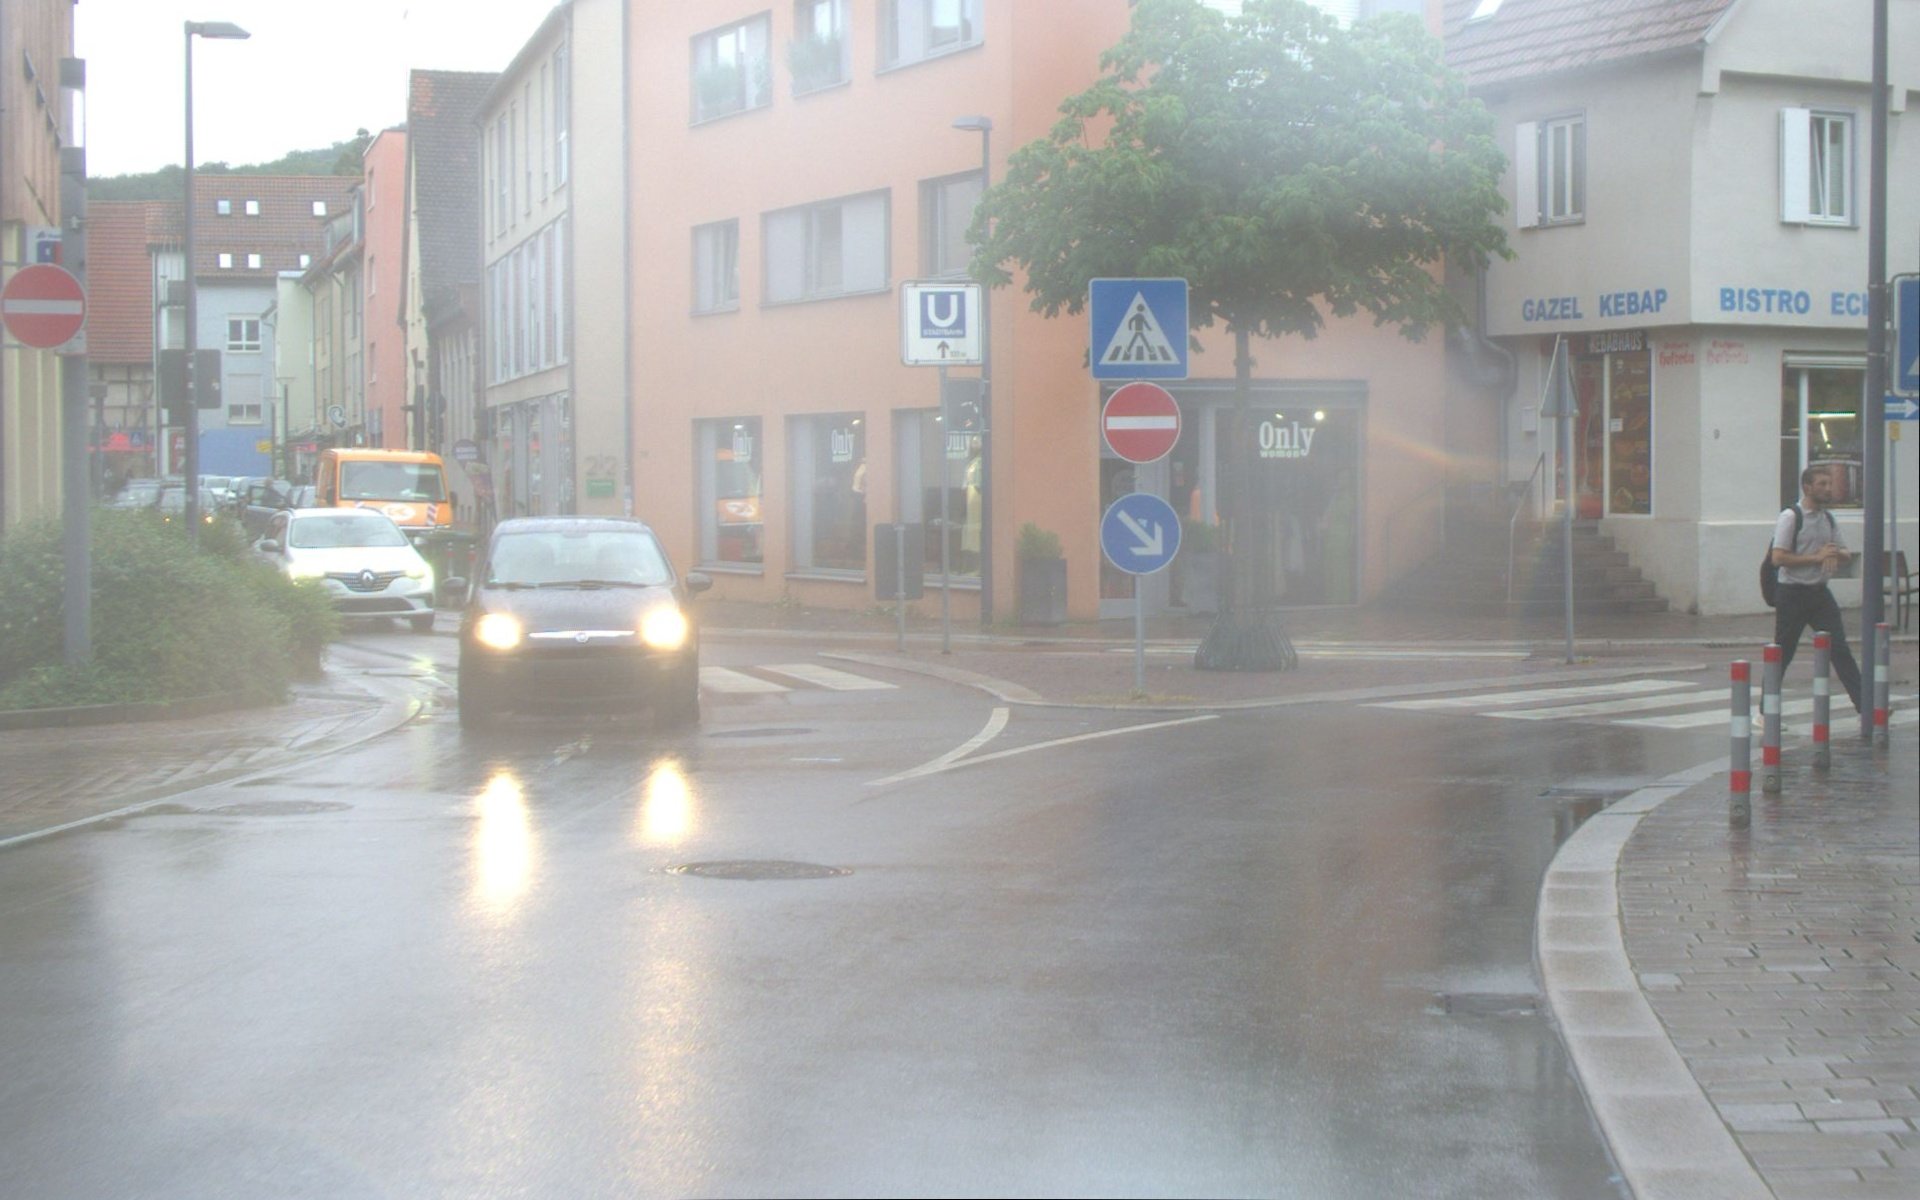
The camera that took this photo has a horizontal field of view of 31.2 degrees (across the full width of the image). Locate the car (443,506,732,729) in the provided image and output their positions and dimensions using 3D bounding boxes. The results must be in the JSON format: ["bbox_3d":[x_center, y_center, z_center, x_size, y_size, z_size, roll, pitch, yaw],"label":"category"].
[{"bbox_3d":[-2.632,0.062,25.065,1.648,1.440,3.984,-2,2,0],"label":"car"}]

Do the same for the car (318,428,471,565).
[{"bbox_3d":[-9.608,-1.735,58.103,2.103,2.139,4.869,-2,2,-14],"label":"car"}]

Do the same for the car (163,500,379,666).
[{"bbox_3d":[-6.545,-0.199,32.384,1.714,1.453,3.912,0,2,-15],"label":"car"}]

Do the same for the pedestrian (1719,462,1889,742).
[{"bbox_3d":[5.879,0.000,23.954,0.756,1.908,0.863,-1,2,-40],"label":"pedestrian"}]

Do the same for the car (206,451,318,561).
[{"bbox_3d":[-14.472,-1.947,71.501,2.103,2.139,4.869,-2,2,-10],"label":"car"}]

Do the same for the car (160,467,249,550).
[{"bbox_3d":[-19.411,-2.343,88.447,1.993,2.006,4.364,-2,2,-10],"label":"car"}]

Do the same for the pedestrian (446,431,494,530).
[{"bbox_3d":[-9.998,-2.444,70.171,0.866,2.006,0.708,-1,2,-16],"label":"pedestrian"}]

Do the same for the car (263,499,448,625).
[{"bbox_3d":[-7.471,-0.505,42.220,1.993,1.436,4.165,-1,2,-13],"label":"car"}]
